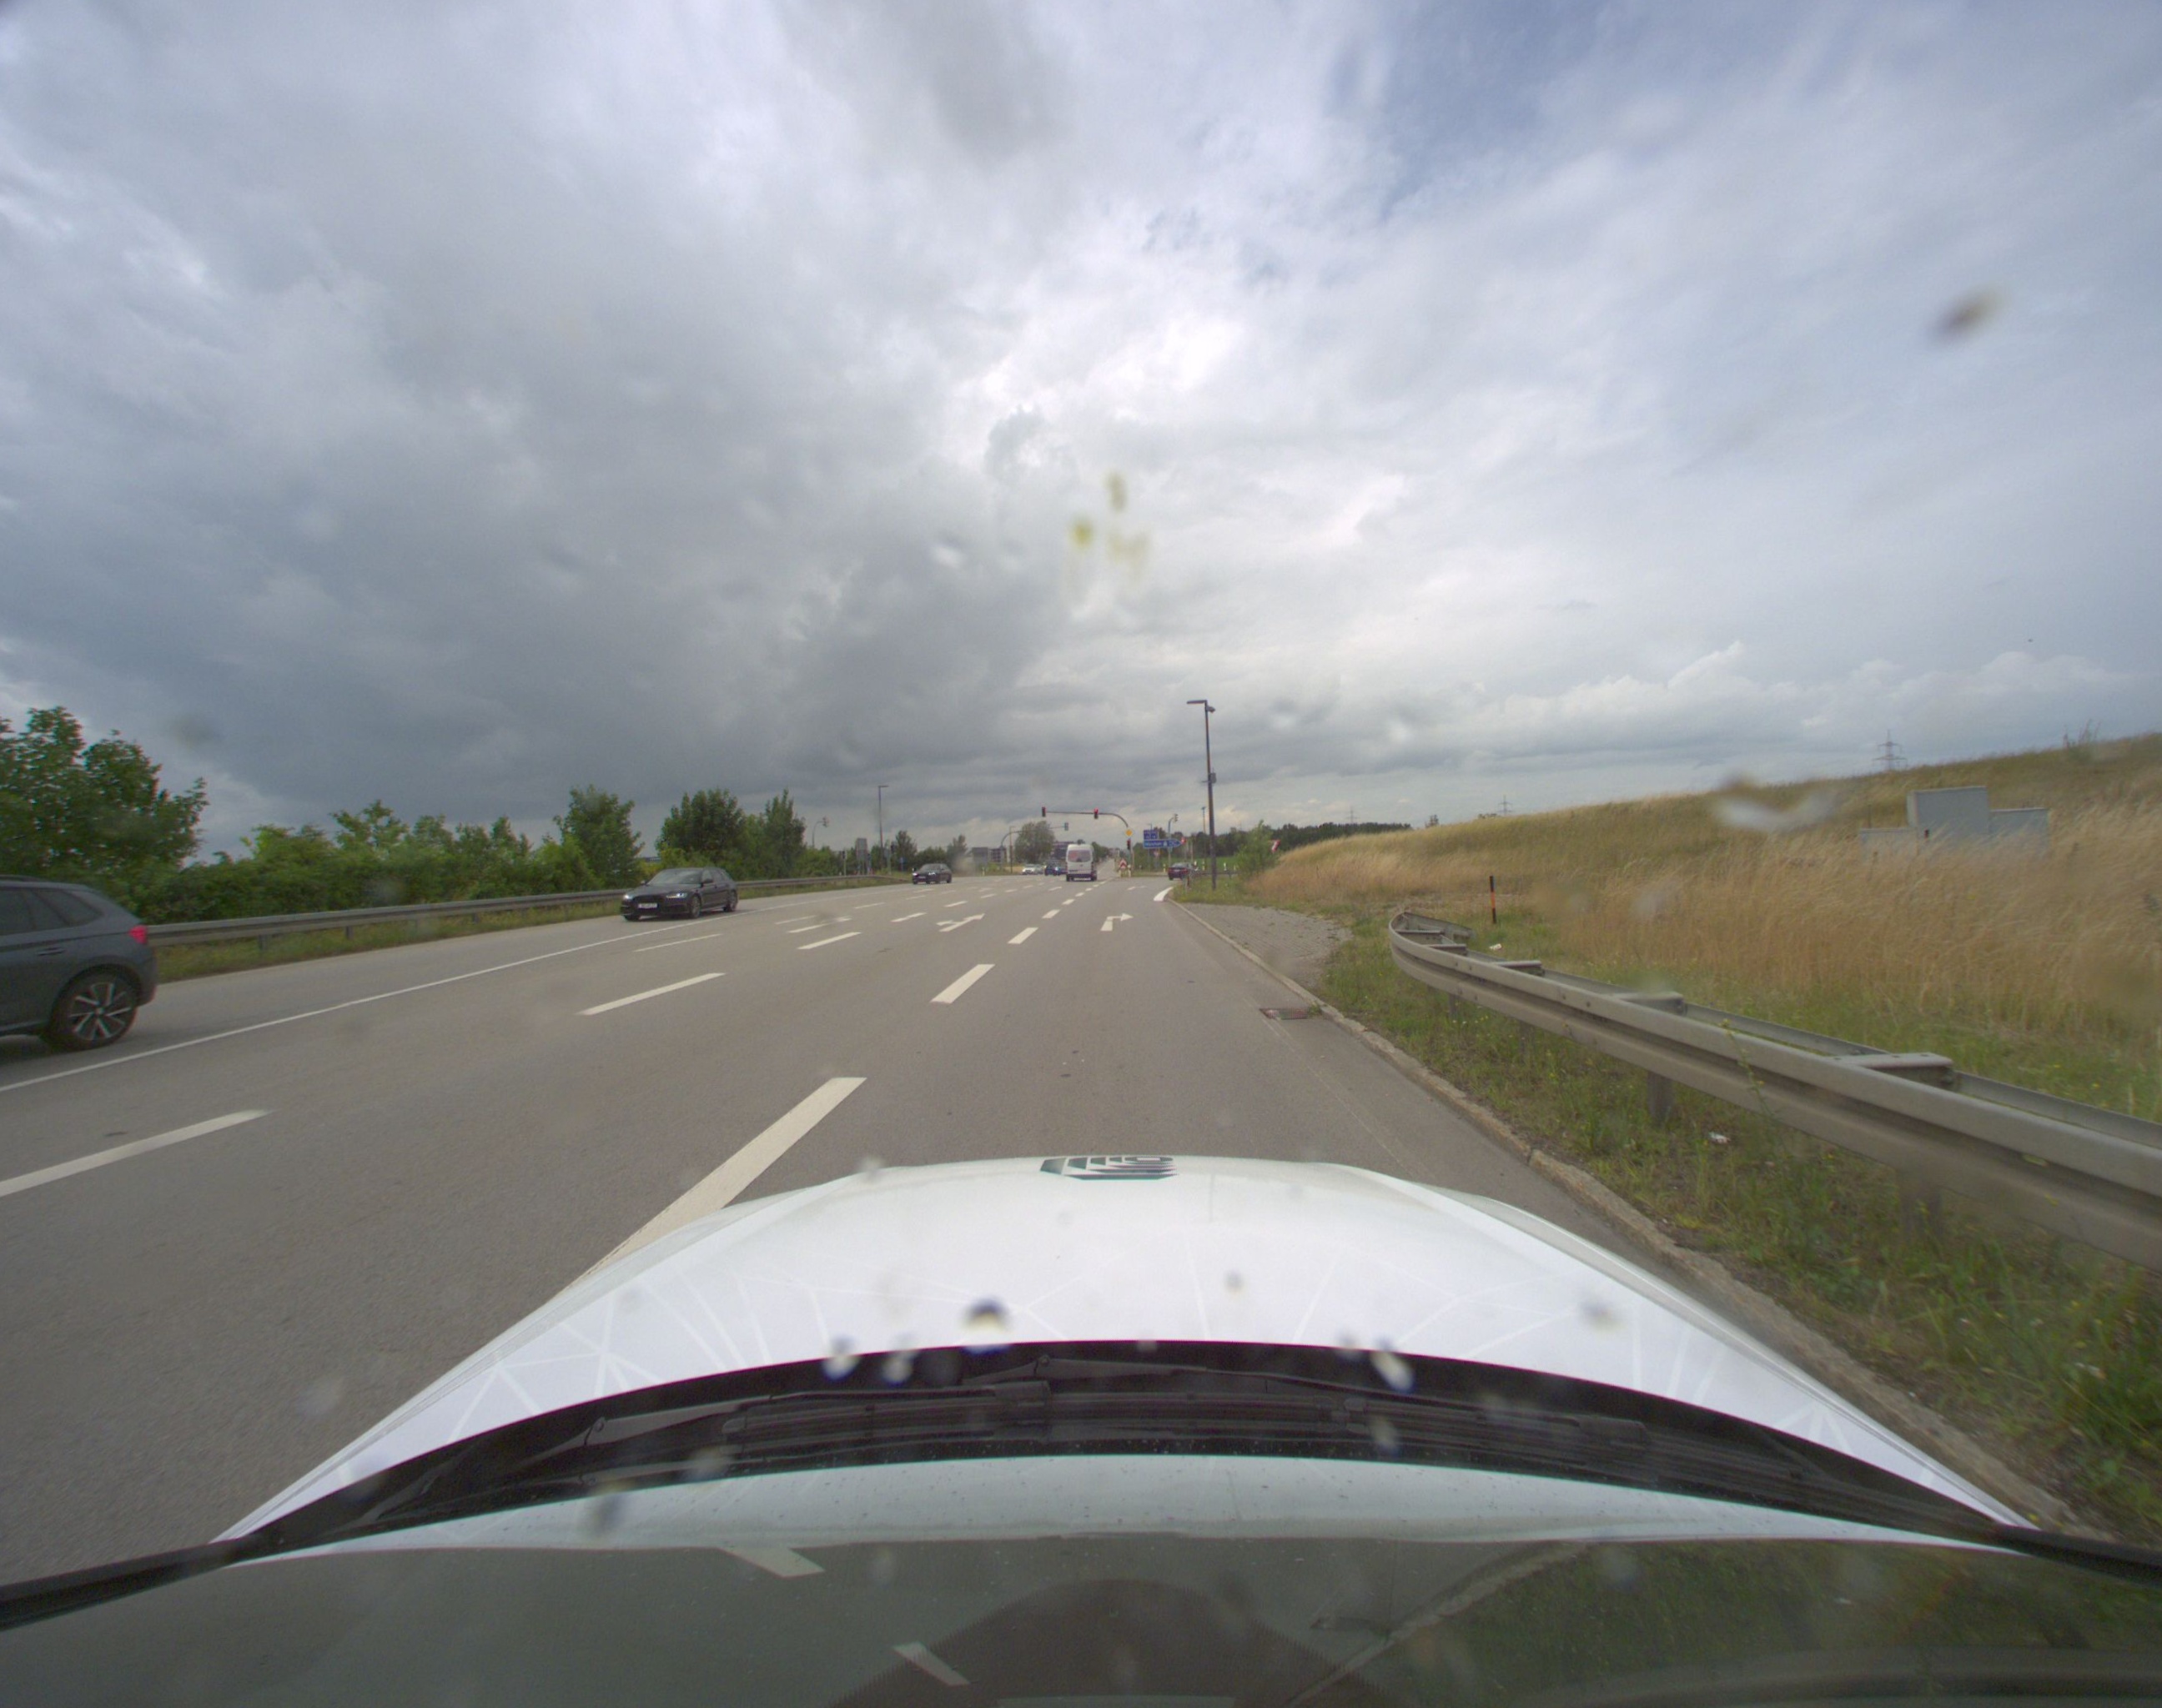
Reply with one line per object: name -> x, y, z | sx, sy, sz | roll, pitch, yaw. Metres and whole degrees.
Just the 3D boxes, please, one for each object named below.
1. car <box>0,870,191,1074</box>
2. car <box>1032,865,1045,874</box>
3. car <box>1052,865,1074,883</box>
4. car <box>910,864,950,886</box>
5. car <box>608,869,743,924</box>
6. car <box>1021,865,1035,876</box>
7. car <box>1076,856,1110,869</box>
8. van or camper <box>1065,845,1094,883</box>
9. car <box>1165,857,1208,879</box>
car -> -9.100, 0.937, 5.683 | 1.581, 1.557, 4.135 | -1, 0, -8
car -> -6.349, 2.294, 121.761 | 1.474, 1.178, 3.536 | -2, 0, 3
car -> -2.014, 2.190, 88.745 | 1.639, 1.852, 3.732 | -2, 0, -12
car -> -10.567, 1.438, 57.304 | 1.837, 1.425, 3.912 | -2, -1, 3
car -> -11.740, 1.179, 23.976 | 1.805, 1.368, 4.779 | -1, 0, -4
car -> -7.306, 2.265, 112.601 | 1.474, 1.282, 3.536 | -2, 0, 3
car -> 1.241, 0.889, 84.101 | 3.129, 1.266, 1.495 | -3, 0, 33
van or camper -> -0.079, 0.671, 57.790 | 1.869, 2.581, 4.002 | -1, 0, 2
car -> 8.023, 1.054, 61.493 | 1.503, 1.485, 3.639 | -3, 0, 39
